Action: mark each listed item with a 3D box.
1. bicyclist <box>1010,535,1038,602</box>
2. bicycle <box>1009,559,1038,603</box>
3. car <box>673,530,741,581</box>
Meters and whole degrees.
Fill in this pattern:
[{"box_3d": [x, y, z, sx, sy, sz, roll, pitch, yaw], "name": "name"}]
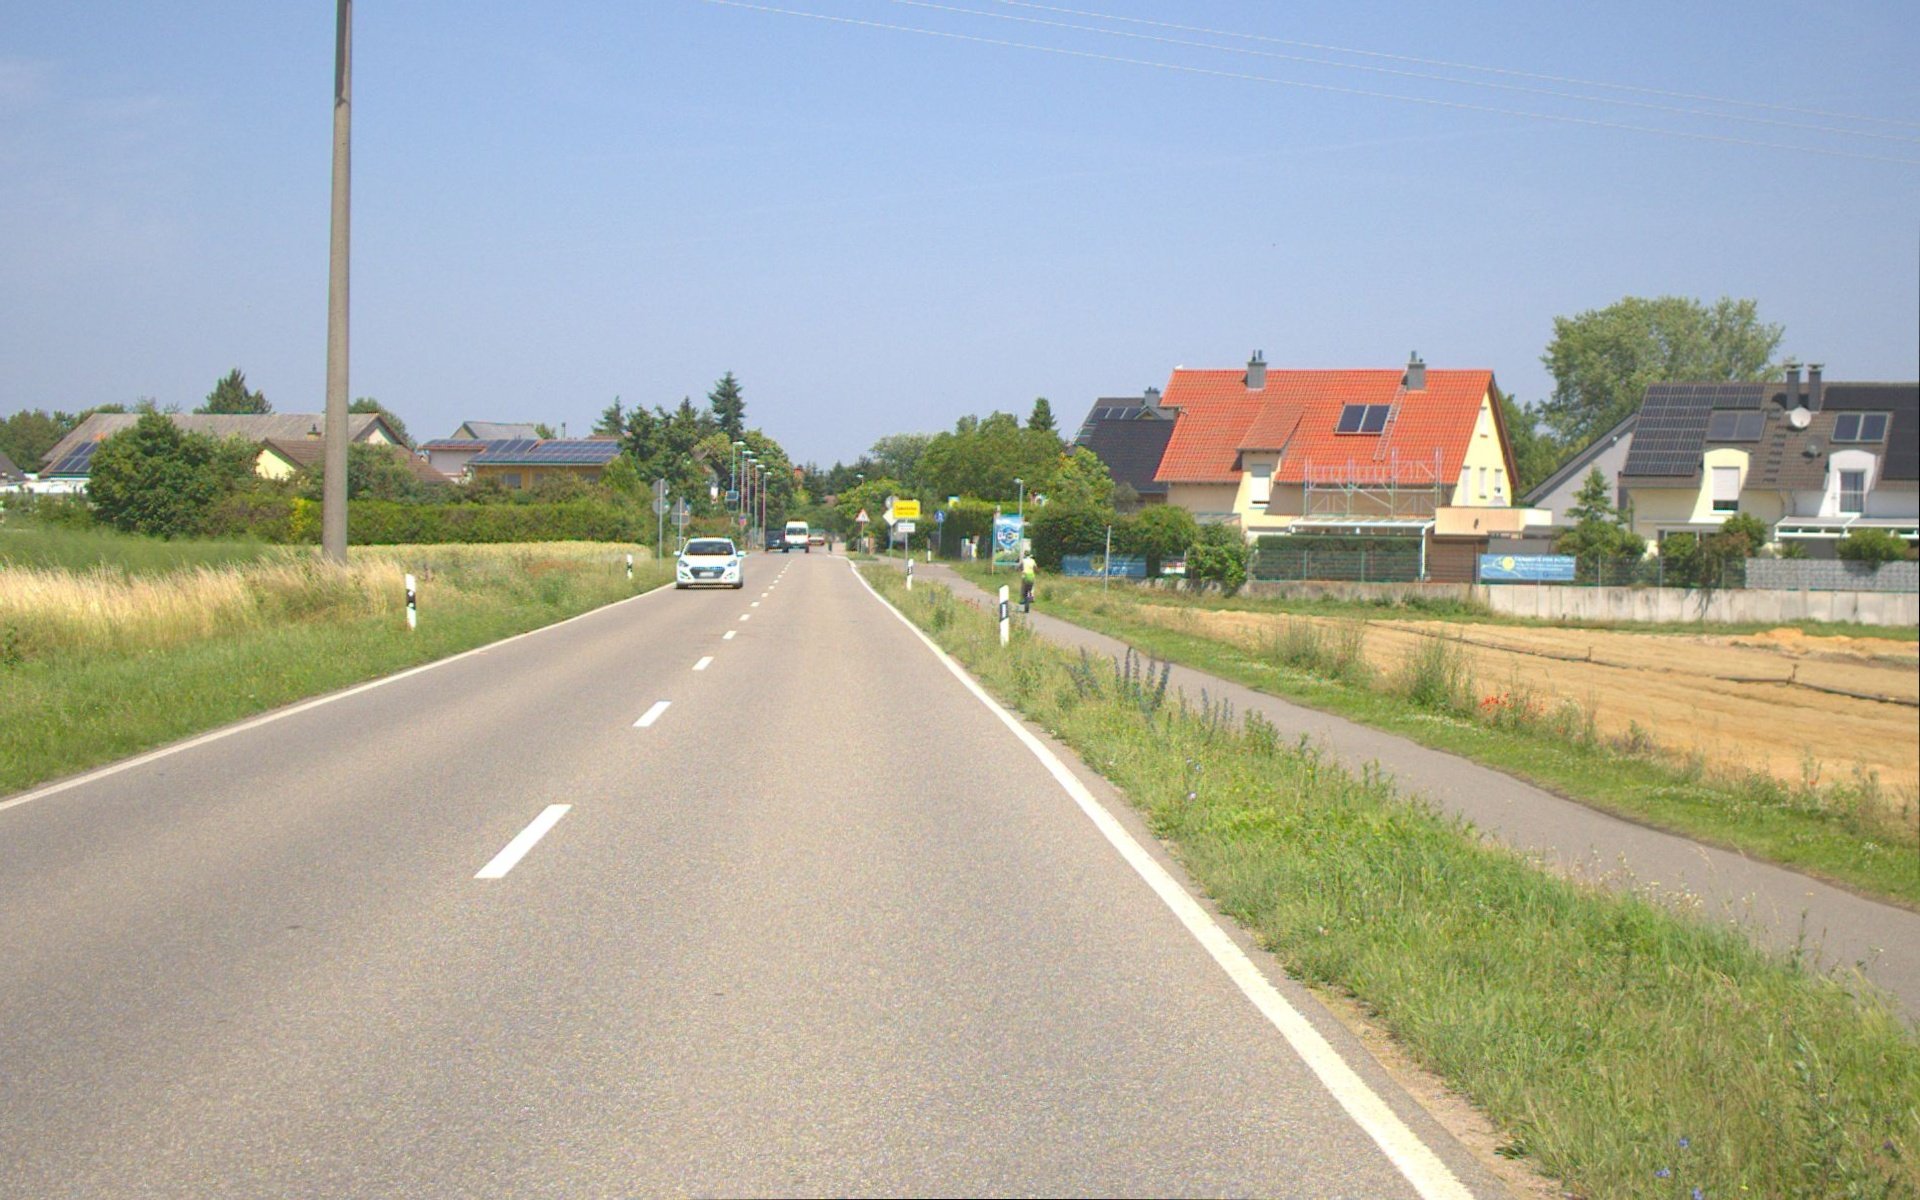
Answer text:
[{"box_3d": [1.839, -0.908, 98.611, 0.645, 1.883, 0.861, 3, 2, -3], "name": "bicyclist"}, {"box_3d": [1.818, -0.542, 98.743, 0.610, 1.154, 2.274, 3, 2, -3], "name": "bicycle"}, {"box_3d": [-7.158, -1.270, 97.588, 1.791, 1.404, 4.186, 0, 1, -2], "name": "car"}]
